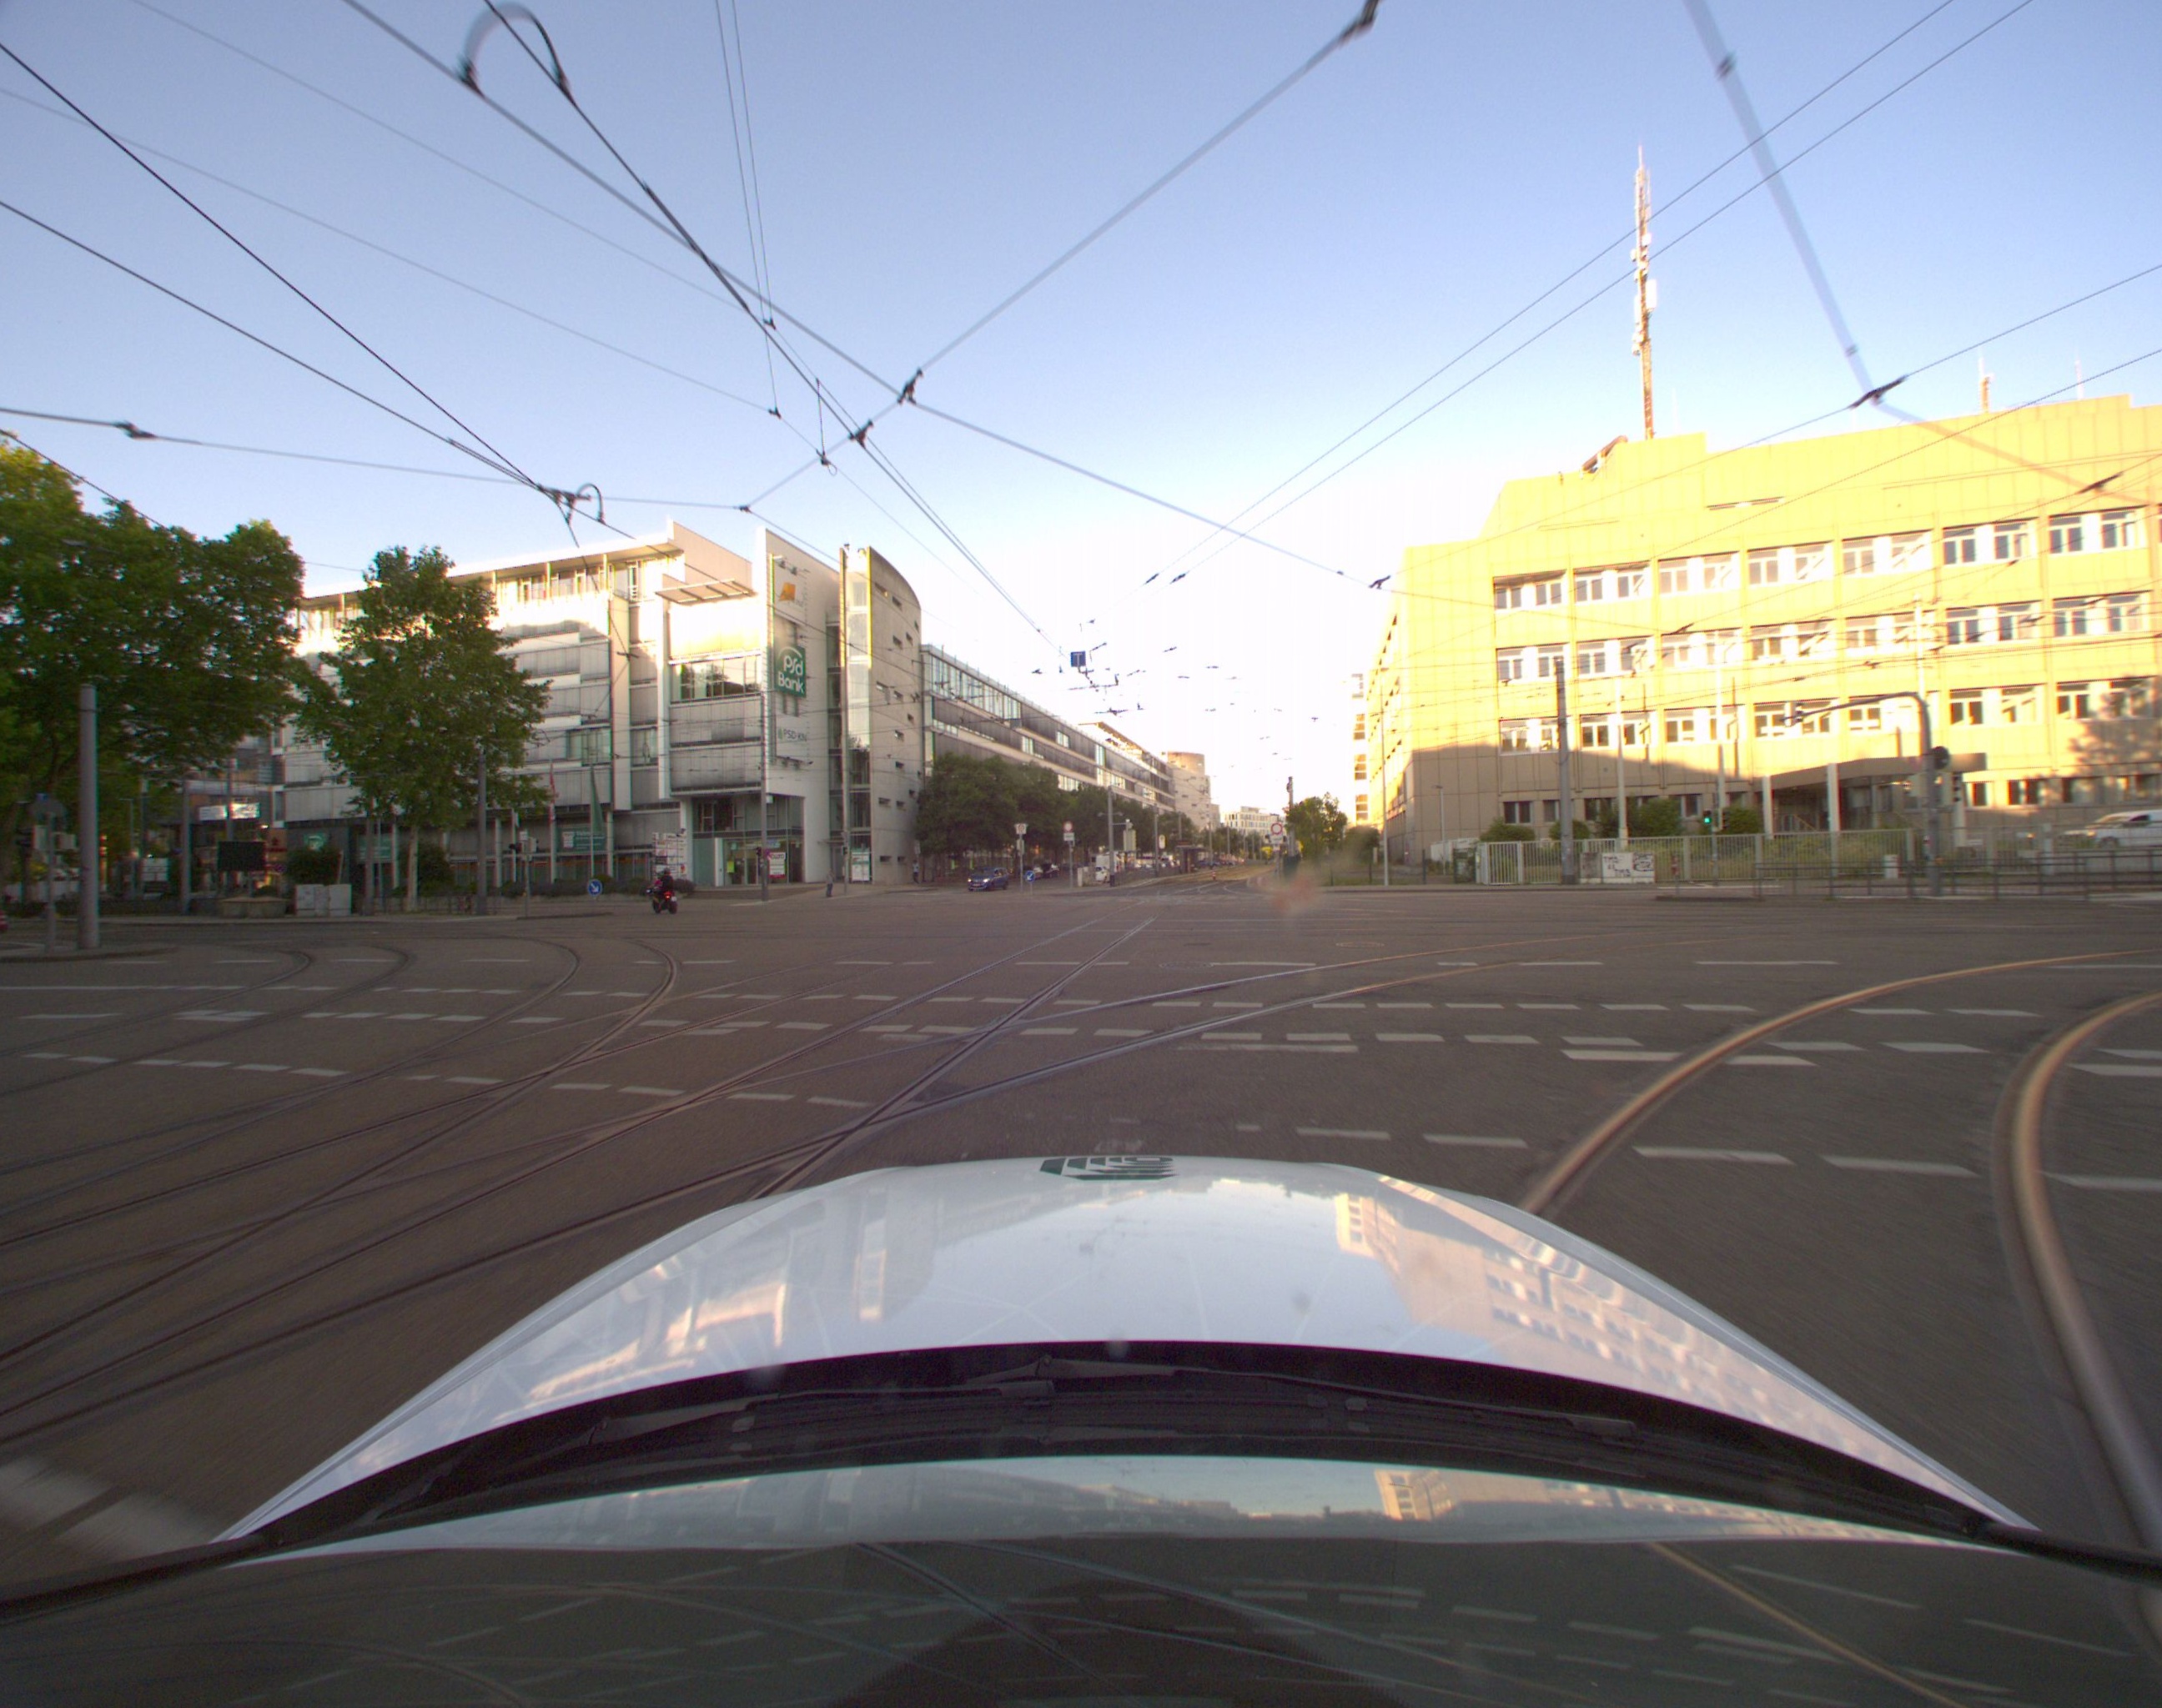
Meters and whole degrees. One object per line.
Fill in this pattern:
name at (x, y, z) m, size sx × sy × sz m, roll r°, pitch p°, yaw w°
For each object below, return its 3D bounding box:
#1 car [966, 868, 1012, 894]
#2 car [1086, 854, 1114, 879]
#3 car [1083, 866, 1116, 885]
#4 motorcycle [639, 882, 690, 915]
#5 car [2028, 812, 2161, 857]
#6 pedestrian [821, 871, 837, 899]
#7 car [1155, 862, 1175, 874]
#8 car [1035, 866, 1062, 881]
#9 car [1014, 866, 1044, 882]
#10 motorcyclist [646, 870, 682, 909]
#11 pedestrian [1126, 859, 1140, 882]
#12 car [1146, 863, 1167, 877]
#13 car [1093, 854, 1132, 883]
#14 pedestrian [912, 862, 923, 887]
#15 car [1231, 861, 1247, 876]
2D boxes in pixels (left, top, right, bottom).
car at (-6.605, 1.895, 58.755) m, size 1.669 × 1.700 × 4.258 m, roll -2°, pitch -1°, yaw 17°
car at (2.604, 1.672, 110.491) m, size 2.184 × 3.152 × 6.169 m, roll -2°, pitch -1°, yaw 16°
car at (1.560, 1.772, 67.450) m, size 1.670 × 1.439 × 4.143 m, roll -2°, pitch -1°, yaw 16°
motorcycle at (-16.349, 1.737, 31.946) m, size 2.459 × 1.240 × 0.836 m, roll -2°, pitch -1°, yaw 39°
car at (47.566, -0.892, 37.252) m, size 5.039 × 1.874 × 2.285 m, roll -2°, pitch -1°, yaw 16°
pedestrian at (-15.392, 1.895, 49.757) m, size 0.541 × 1.711 × 0.664 m, roll -2°, pitch -1°, yaw 25°
car at (10.357, 1.711, 100.004) m, size 1.670 × 1.439 × 4.143 m, roll -2°, pitch -1°, yaw 16°
car at (-3.516, 2.129, 88.989) m, size 1.670 × 1.501 × 4.257 m, roll -2°, pitch -1°, yaw 16°
car at (-5.259, 2.075, 83.250) m, size 1.670 × 1.501 × 4.257 m, roll -2°, pitch -1°, yaw 16°
motorcyclist at (-16.373, 1.399, 31.964) m, size 1.191 × 1.473 × 0.836 m, roll -2°, pitch -1°, yaw 40°
pedestrian at (4.685, 1.494, 73.742) m, size 1.040 × 2.030 × 0.980 m, roll -1°, pitch -1°, yaw -12°
car at (8.546, 1.773, 91.734) m, size 1.670 × 1.439 × 4.143 m, roll -2°, pitch -1°, yaw 16°
car at (2.882, 1.269, 73.227) m, size 2.444 × 2.482 × 5.827 m, roll -2°, pitch -1°, yaw 12°
pedestrian at (-12.786, 1.622, 63.829) m, size 0.659 × 1.922 × 0.549 m, roll -2°, pitch -1°, yaw 4°
car at (22.934, 2.125, 118.369) m, size 1.979 × 2.014 × 4.015 m, roll -2°, pitch -1°, yaw 14°
